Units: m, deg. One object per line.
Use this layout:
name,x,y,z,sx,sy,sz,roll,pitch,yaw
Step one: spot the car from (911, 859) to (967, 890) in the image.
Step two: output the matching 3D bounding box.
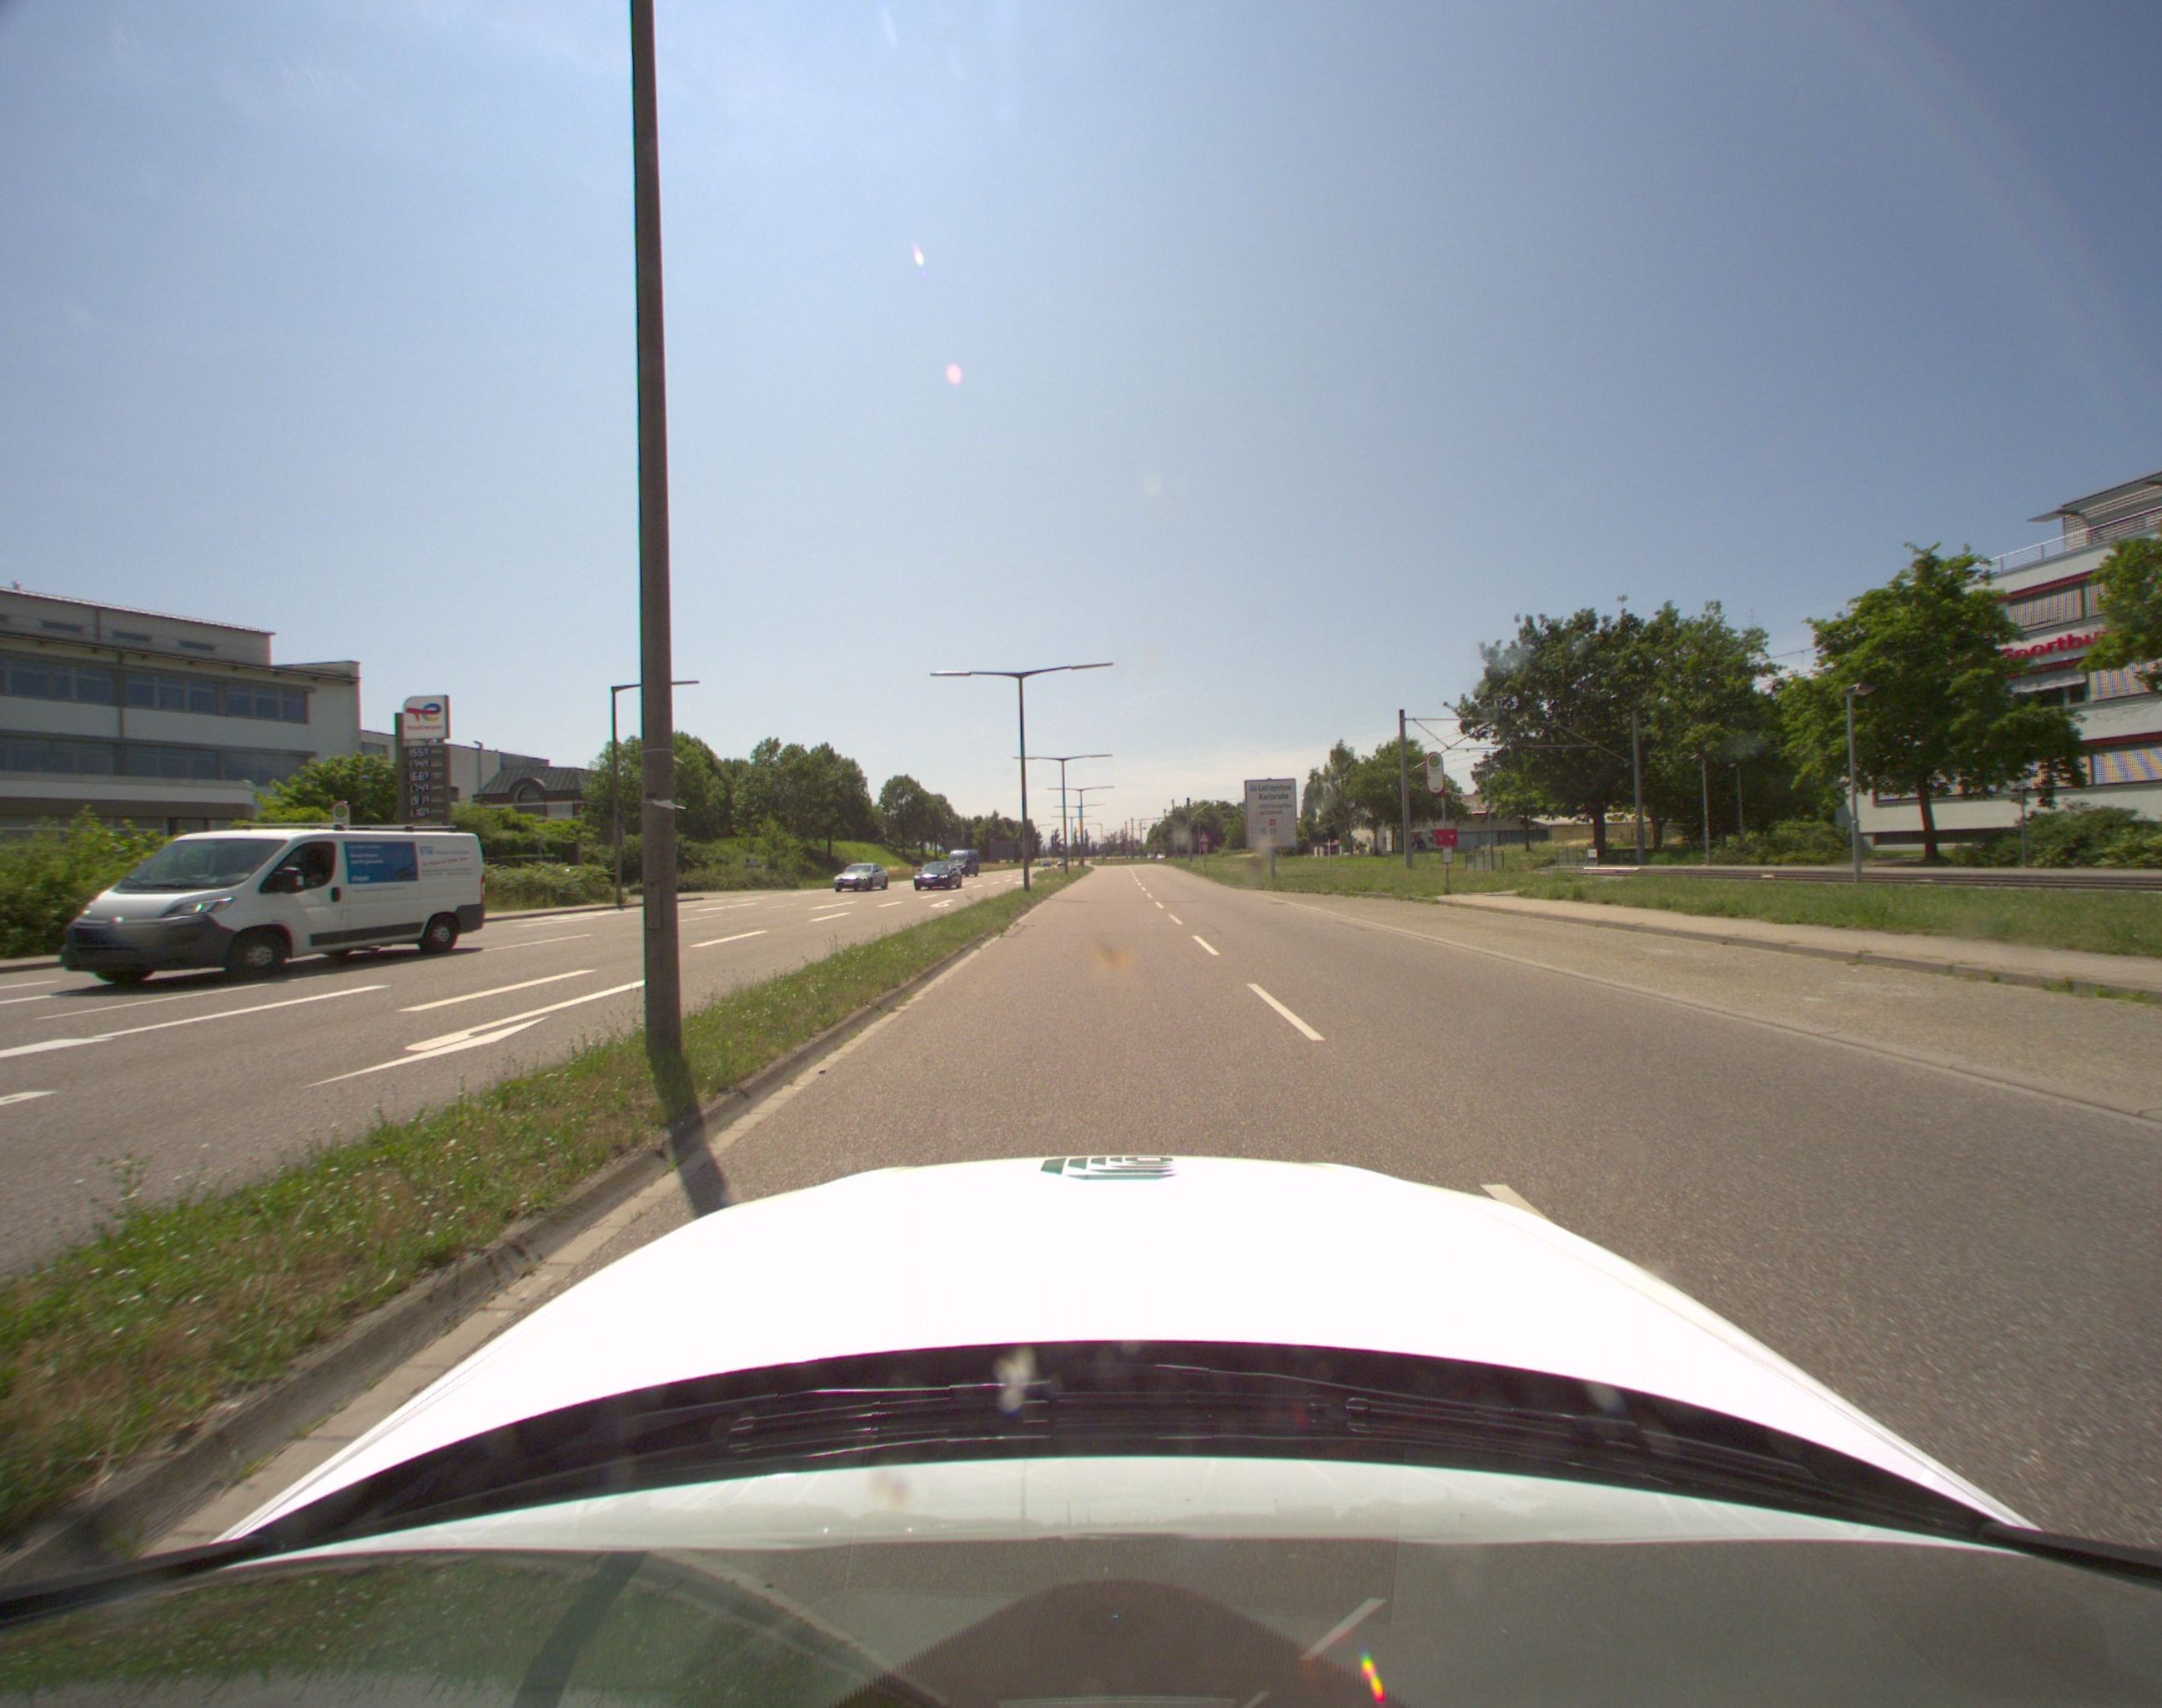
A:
car,-7.405,1.031,42.913,1.722,1.458,4.571,-2,0,5

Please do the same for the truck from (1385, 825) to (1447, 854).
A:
truck,37.003,-1.600,90.074,5.834,2.843,2.315,-3,-1,-7

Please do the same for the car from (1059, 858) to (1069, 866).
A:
car,-3.376,1.609,159.401,1.686,1.492,4.000,-2,0,1

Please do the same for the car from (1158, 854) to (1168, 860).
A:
car,18.457,0.744,183.349,1.560,1.179,3.074,-3,0,-5

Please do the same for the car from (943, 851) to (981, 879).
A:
car,-10.880,0.983,75.097,2.163,2.411,5.679,-2,0,5

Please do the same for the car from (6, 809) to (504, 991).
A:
car,-12.322,0.606,12.969,2.241,2.273,5.451,0,-1,2

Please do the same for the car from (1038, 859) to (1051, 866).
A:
car,-7.004,1.623,156.196,1.985,1.360,4.669,-3,0,3

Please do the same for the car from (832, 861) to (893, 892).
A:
car,-11.482,1.125,43.081,1.825,1.449,4.851,-2,0,0
